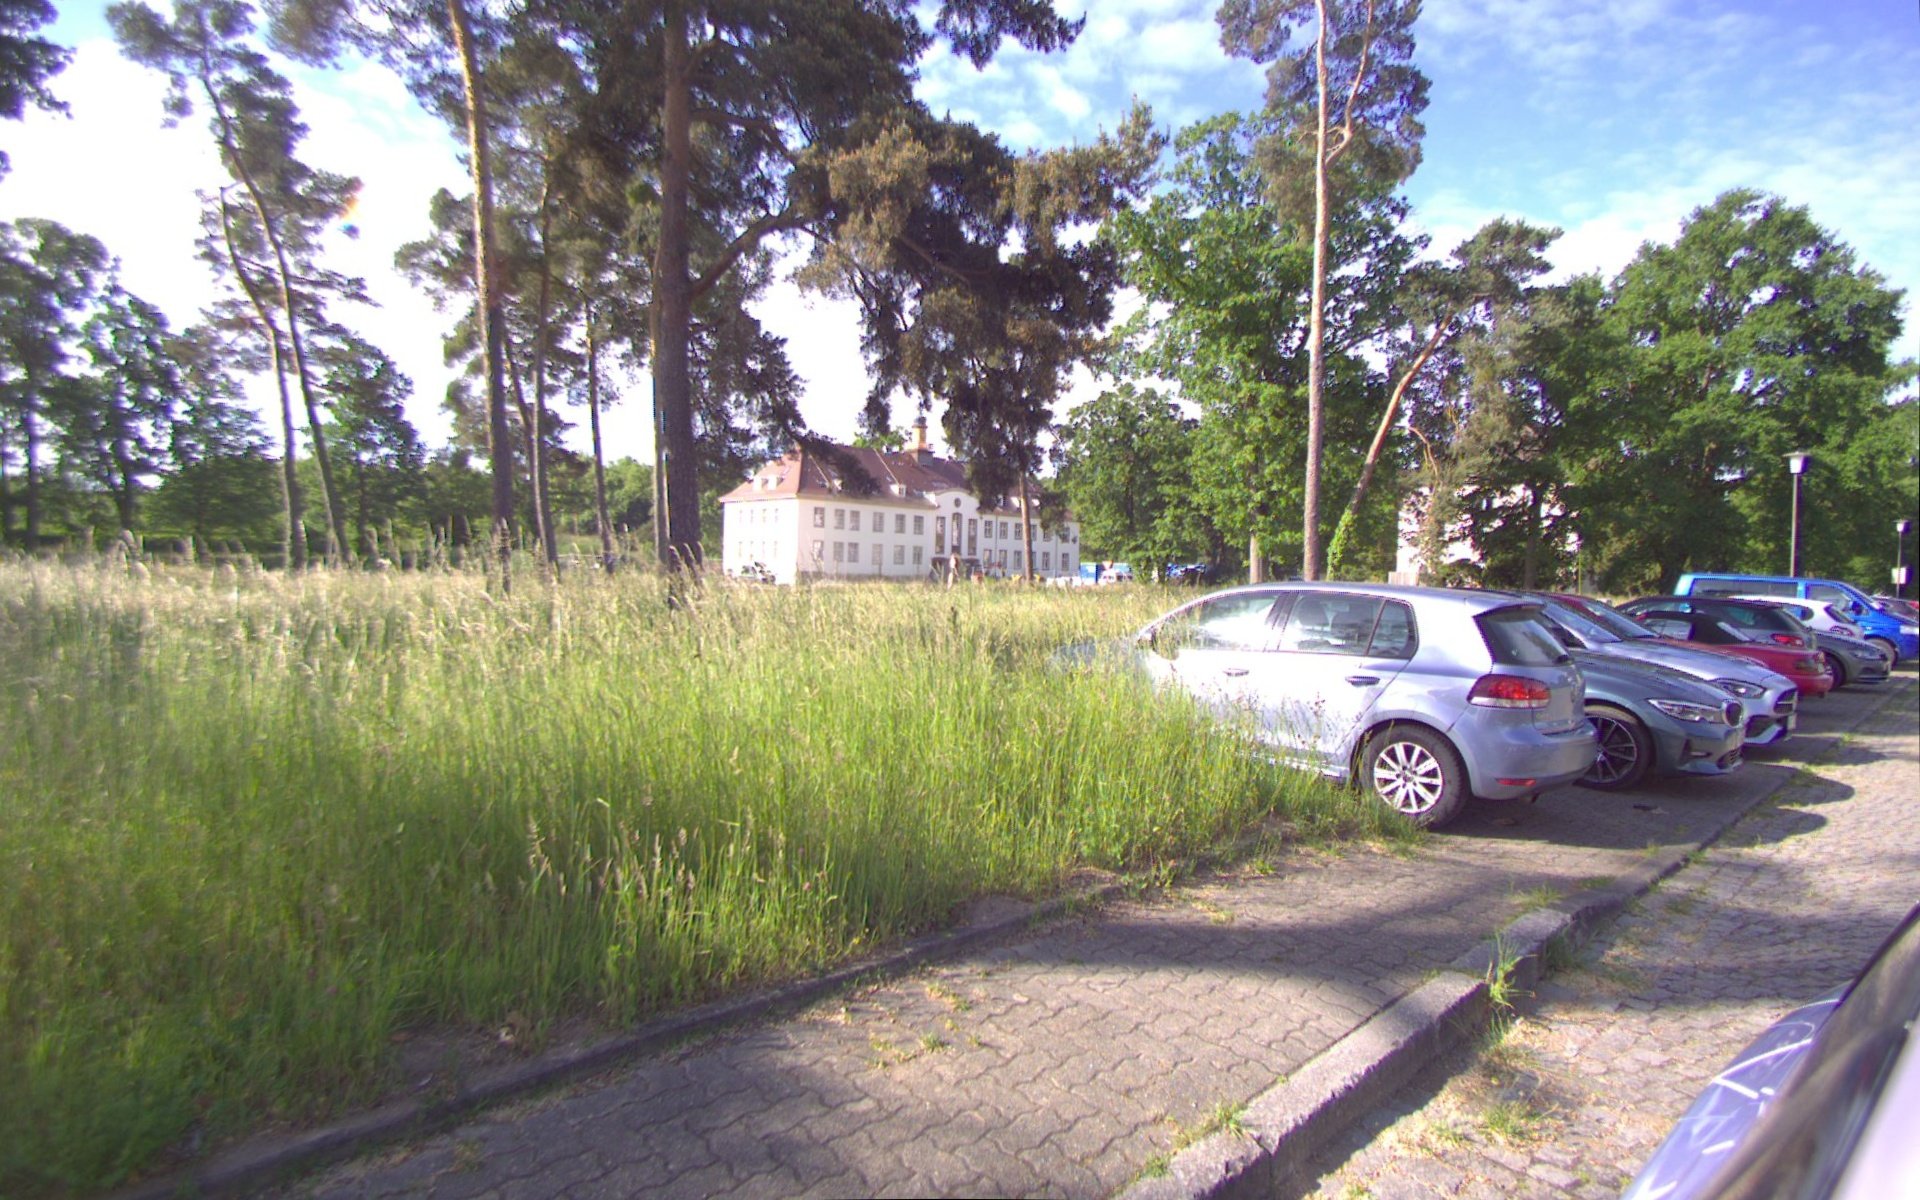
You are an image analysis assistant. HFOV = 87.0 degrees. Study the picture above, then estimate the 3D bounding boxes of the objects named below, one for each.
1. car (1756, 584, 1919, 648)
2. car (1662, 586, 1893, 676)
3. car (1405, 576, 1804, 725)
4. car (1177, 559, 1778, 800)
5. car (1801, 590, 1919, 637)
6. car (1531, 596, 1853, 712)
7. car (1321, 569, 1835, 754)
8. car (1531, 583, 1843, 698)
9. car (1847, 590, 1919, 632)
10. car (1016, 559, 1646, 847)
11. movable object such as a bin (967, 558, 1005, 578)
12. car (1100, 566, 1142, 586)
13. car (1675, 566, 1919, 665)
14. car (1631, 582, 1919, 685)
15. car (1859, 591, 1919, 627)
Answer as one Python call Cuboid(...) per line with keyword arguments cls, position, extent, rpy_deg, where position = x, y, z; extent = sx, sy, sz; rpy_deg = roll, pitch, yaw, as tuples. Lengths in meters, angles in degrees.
Cuboid(cls="car", position=(25.961, 0.424, 29.528), extent=(1.725, 1.660, 3.997), rpy_deg=(0, 2, -39))
Cuboid(cls="car", position=(15.844, 0.534, 19.718), extent=(1.423, 1.509, 3.264), rpy_deg=(0, 2, -40))
Cuboid(cls="car", position=(7.919, 0.495, 12.716), extent=(1.633, 1.410, 3.914), rpy_deg=(0, 3, -43))
Cuboid(cls="car", position=(4.419, 0.480, 9.199), extent=(4.498, 1.535, 1.797), rpy_deg=(5, 3, 45))
Cuboid(cls="car", position=(33.241, 0.474, 36.661), extent=(1.725, 1.537, 3.997), rpy_deg=(0, 2, -39))
Cuboid(cls="car", position=(9.900, 0.645, 13.859), extent=(1.396, 1.271, 3.353), rpy_deg=(0, 2, -43))
Cuboid(cls="car", position=(6.455, 0.483, 11.000), extent=(1.795, 1.419, 4.418), rpy_deg=(0, 4, -43))
Cuboid(cls="car", position=(11.400, 0.534, 16.054), extent=(1.523, 1.509, 3.775), rpy_deg=(0, 2, -43))
Cuboid(cls="car", position=(40.741, 0.443, 43.297), extent=(1.725, 1.763, 3.996), rpy_deg=(0, 0, -39))
Cuboid(cls="car", position=(2.507, 0.494, 7.588), extent=(1.839, 1.478, 4.022), rpy_deg=(0, 3, -43))
Cuboid(cls="movable object such as a bin", position=(3.259, -3.927, 125.786), extent=(1.994, 2.351, 4.908), rpy_deg=(3, 2, 44))
Cuboid(cls="car", position=(17.347, -2.538, 108.814), extent=(4.690, 2.038, 1.997), rpy_deg=(0, 2, -42))
Cuboid(cls="car", position=(19.649, 0.273, 23.411), extent=(1.965, 2.038, 4.724), rpy_deg=(0, 2, -41))
Cuboid(cls="car", position=(14.014, 0.491, 17.561), extent=(1.478, 1.509, 3.629), rpy_deg=(0, 2, -32))
Cuboid(cls="car", position=(44.200, 0.403, 46.559), extent=(1.725, 1.635, 3.996), rpy_deg=(-1, 0, -38))
